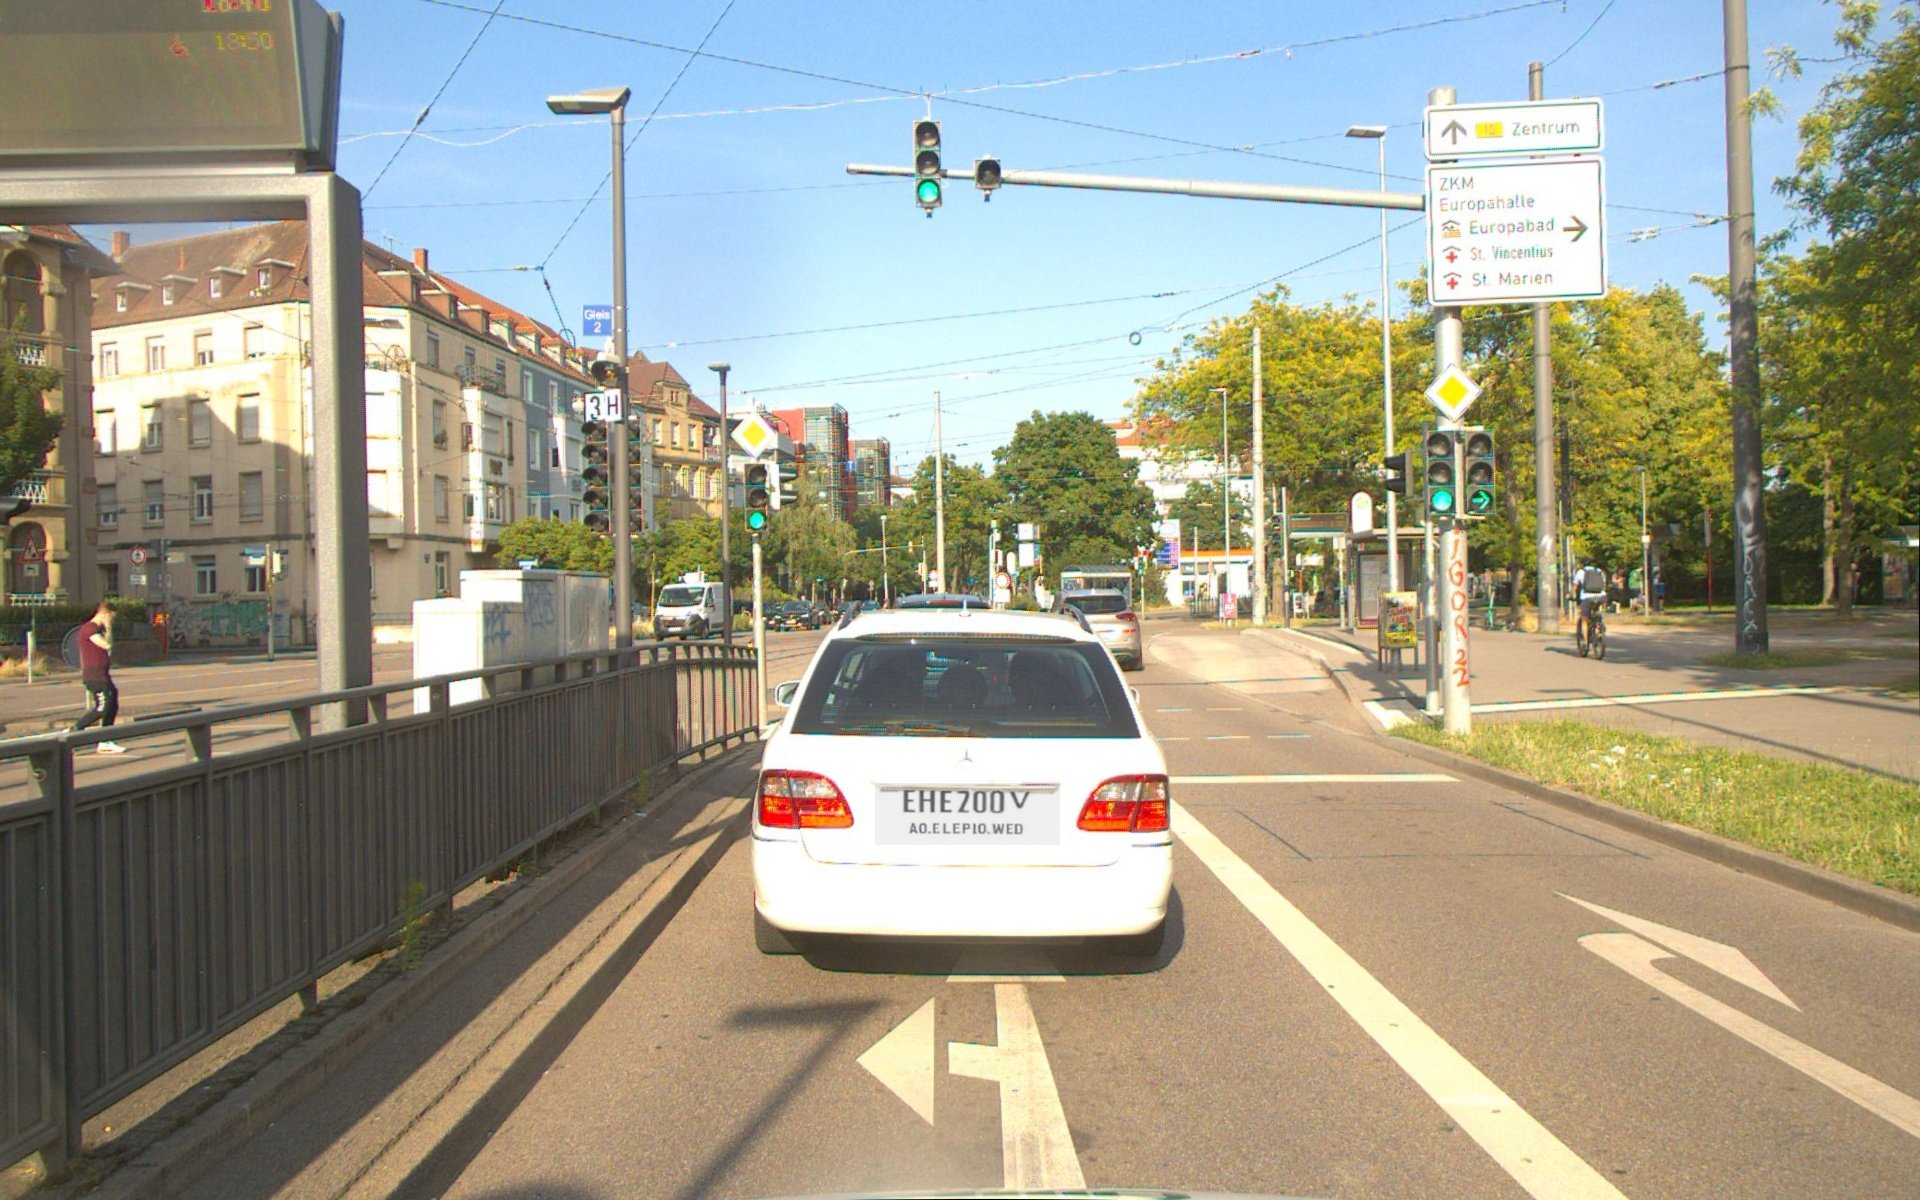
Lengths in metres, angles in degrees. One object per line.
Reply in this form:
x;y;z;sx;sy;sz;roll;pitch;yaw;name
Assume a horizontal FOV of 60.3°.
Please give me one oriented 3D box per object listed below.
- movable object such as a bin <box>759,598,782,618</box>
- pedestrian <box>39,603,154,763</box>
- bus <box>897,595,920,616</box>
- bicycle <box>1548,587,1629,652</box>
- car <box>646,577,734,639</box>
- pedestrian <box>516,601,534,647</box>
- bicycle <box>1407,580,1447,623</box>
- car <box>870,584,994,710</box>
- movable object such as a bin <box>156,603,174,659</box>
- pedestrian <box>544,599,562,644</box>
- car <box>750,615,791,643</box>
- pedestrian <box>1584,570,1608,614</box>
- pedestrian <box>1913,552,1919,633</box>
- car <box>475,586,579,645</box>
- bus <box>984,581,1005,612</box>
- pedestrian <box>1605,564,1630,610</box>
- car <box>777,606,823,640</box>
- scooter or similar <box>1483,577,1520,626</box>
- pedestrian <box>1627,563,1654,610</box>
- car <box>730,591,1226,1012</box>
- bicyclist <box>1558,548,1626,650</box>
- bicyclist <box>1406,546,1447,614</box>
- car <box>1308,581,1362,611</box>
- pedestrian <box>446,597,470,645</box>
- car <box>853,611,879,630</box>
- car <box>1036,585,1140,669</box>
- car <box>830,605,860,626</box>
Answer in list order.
-13.780;0.587;120.257;1.573;1.446;1.083;-2;0;-8;movable object such as a bin
-9.486;0.894;18.190;0.862;1.699;0.672;-1;0;1;pedestrian
-4.286;0.448;137.302;1.807;1.665;4.158;-1;0;-1;bus
11.444;0.354;30.165;0.627;1.107;1.939;-4;0;-1;bicycle
-10.548;0.288;65.060;2.131;2.278;5.256;-1;0;5;car
-18.355;1.005;69.864;0.573;1.914;0.626;-1;0;-3;pedestrian
12.755;0.032;45.204;0.627;1.107;1.734;-4;0;3;bicycle
-0.383;0.611;23.457;1.608;1.628;3.814;0;0;-1;car
-25.445;0.976;52.931;0.261;1.739;2.357;-1;0;-31;movable object such as a bin
-17.304;0.911;70.265;0.572;1.914;0.626;-1;0;-1;pedestrian
-10.760;1.614;93.924;1.730;1.458;4.001;-1;0;2;car
23.901;-0.310;62.159;0.628;1.638;0.690;-1;0;-1;pedestrian
22.017;-0.159;37.110;0.661;1.808;0.875;1;0;-20;pedestrian
-12.671;0.425;48.589;1.641;1.552;4.127;-1;1;5;car
2.979;-0.298;143.295;1.760;2.600;4.000;1;-1;1;bus
24.318;-0.479;61.169;0.628;1.694;0.690;-1;0;-1;pedestrian
-8.246;1.166;85.567;1.730;1.520;4.746;-2;1;2;car
14.061;0.033;42.948;0.345;1.253;1.131;-1;0;-15;scooter or similar
24.747;-0.488;60.154;0.628;1.694;0.690;-1;0;-1;pedestrian
0.044;0.734;7.929;1.798;1.527;3.814;0;0;-1;car
11.424;-0.016;29.935;0.636;1.776;1.140;-4;0;-2;bicyclist
12.662;-0.533;44.902;0.705;1.776;1.140;-4;0;3;bicyclist
20.836;-0.253;91.840;1.818;1.542;3.994;-3;0;29;car
-20.315;0.840;66.983;0.644;1.914;0.627;-1;0;14;pedestrian
-7.562;1.631;133.562;1.653;1.445;4.001;-2;-1;3;car
2.560;0.523;33.879;1.798;1.628;3.814;0;0;-1;car
-8.469;1.128;122.158;1.654;1.466;4.002;-2;0;3;car
